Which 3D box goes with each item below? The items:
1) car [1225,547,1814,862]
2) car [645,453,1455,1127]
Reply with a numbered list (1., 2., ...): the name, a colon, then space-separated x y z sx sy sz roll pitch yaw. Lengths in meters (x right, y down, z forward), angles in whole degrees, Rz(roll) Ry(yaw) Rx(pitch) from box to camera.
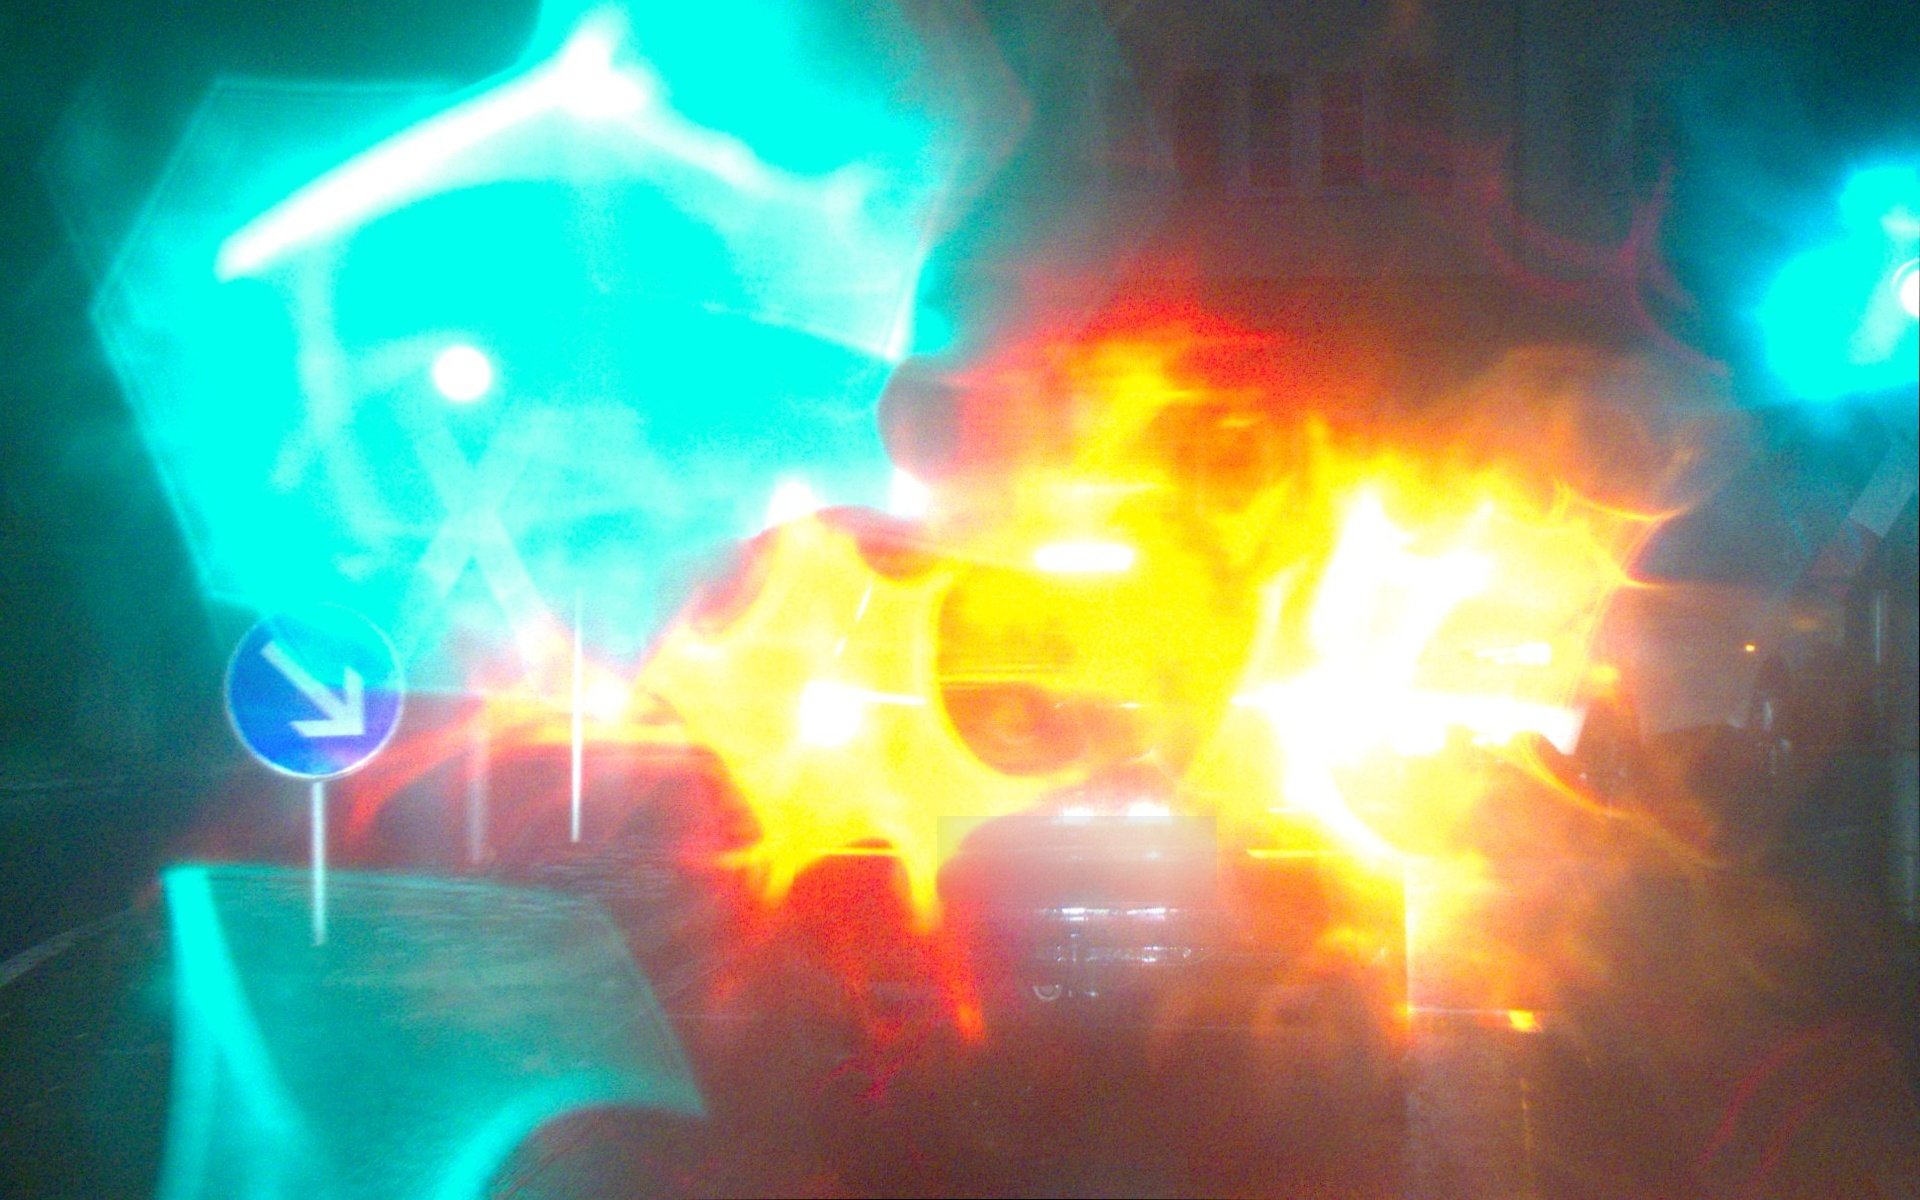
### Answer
1. car: 3.323 0.513 19.694 1.913 1.505 4.234 -1 1 30
2. car: 0.370 0.477 11.075 2.058 1.672 4.139 2 0 4
